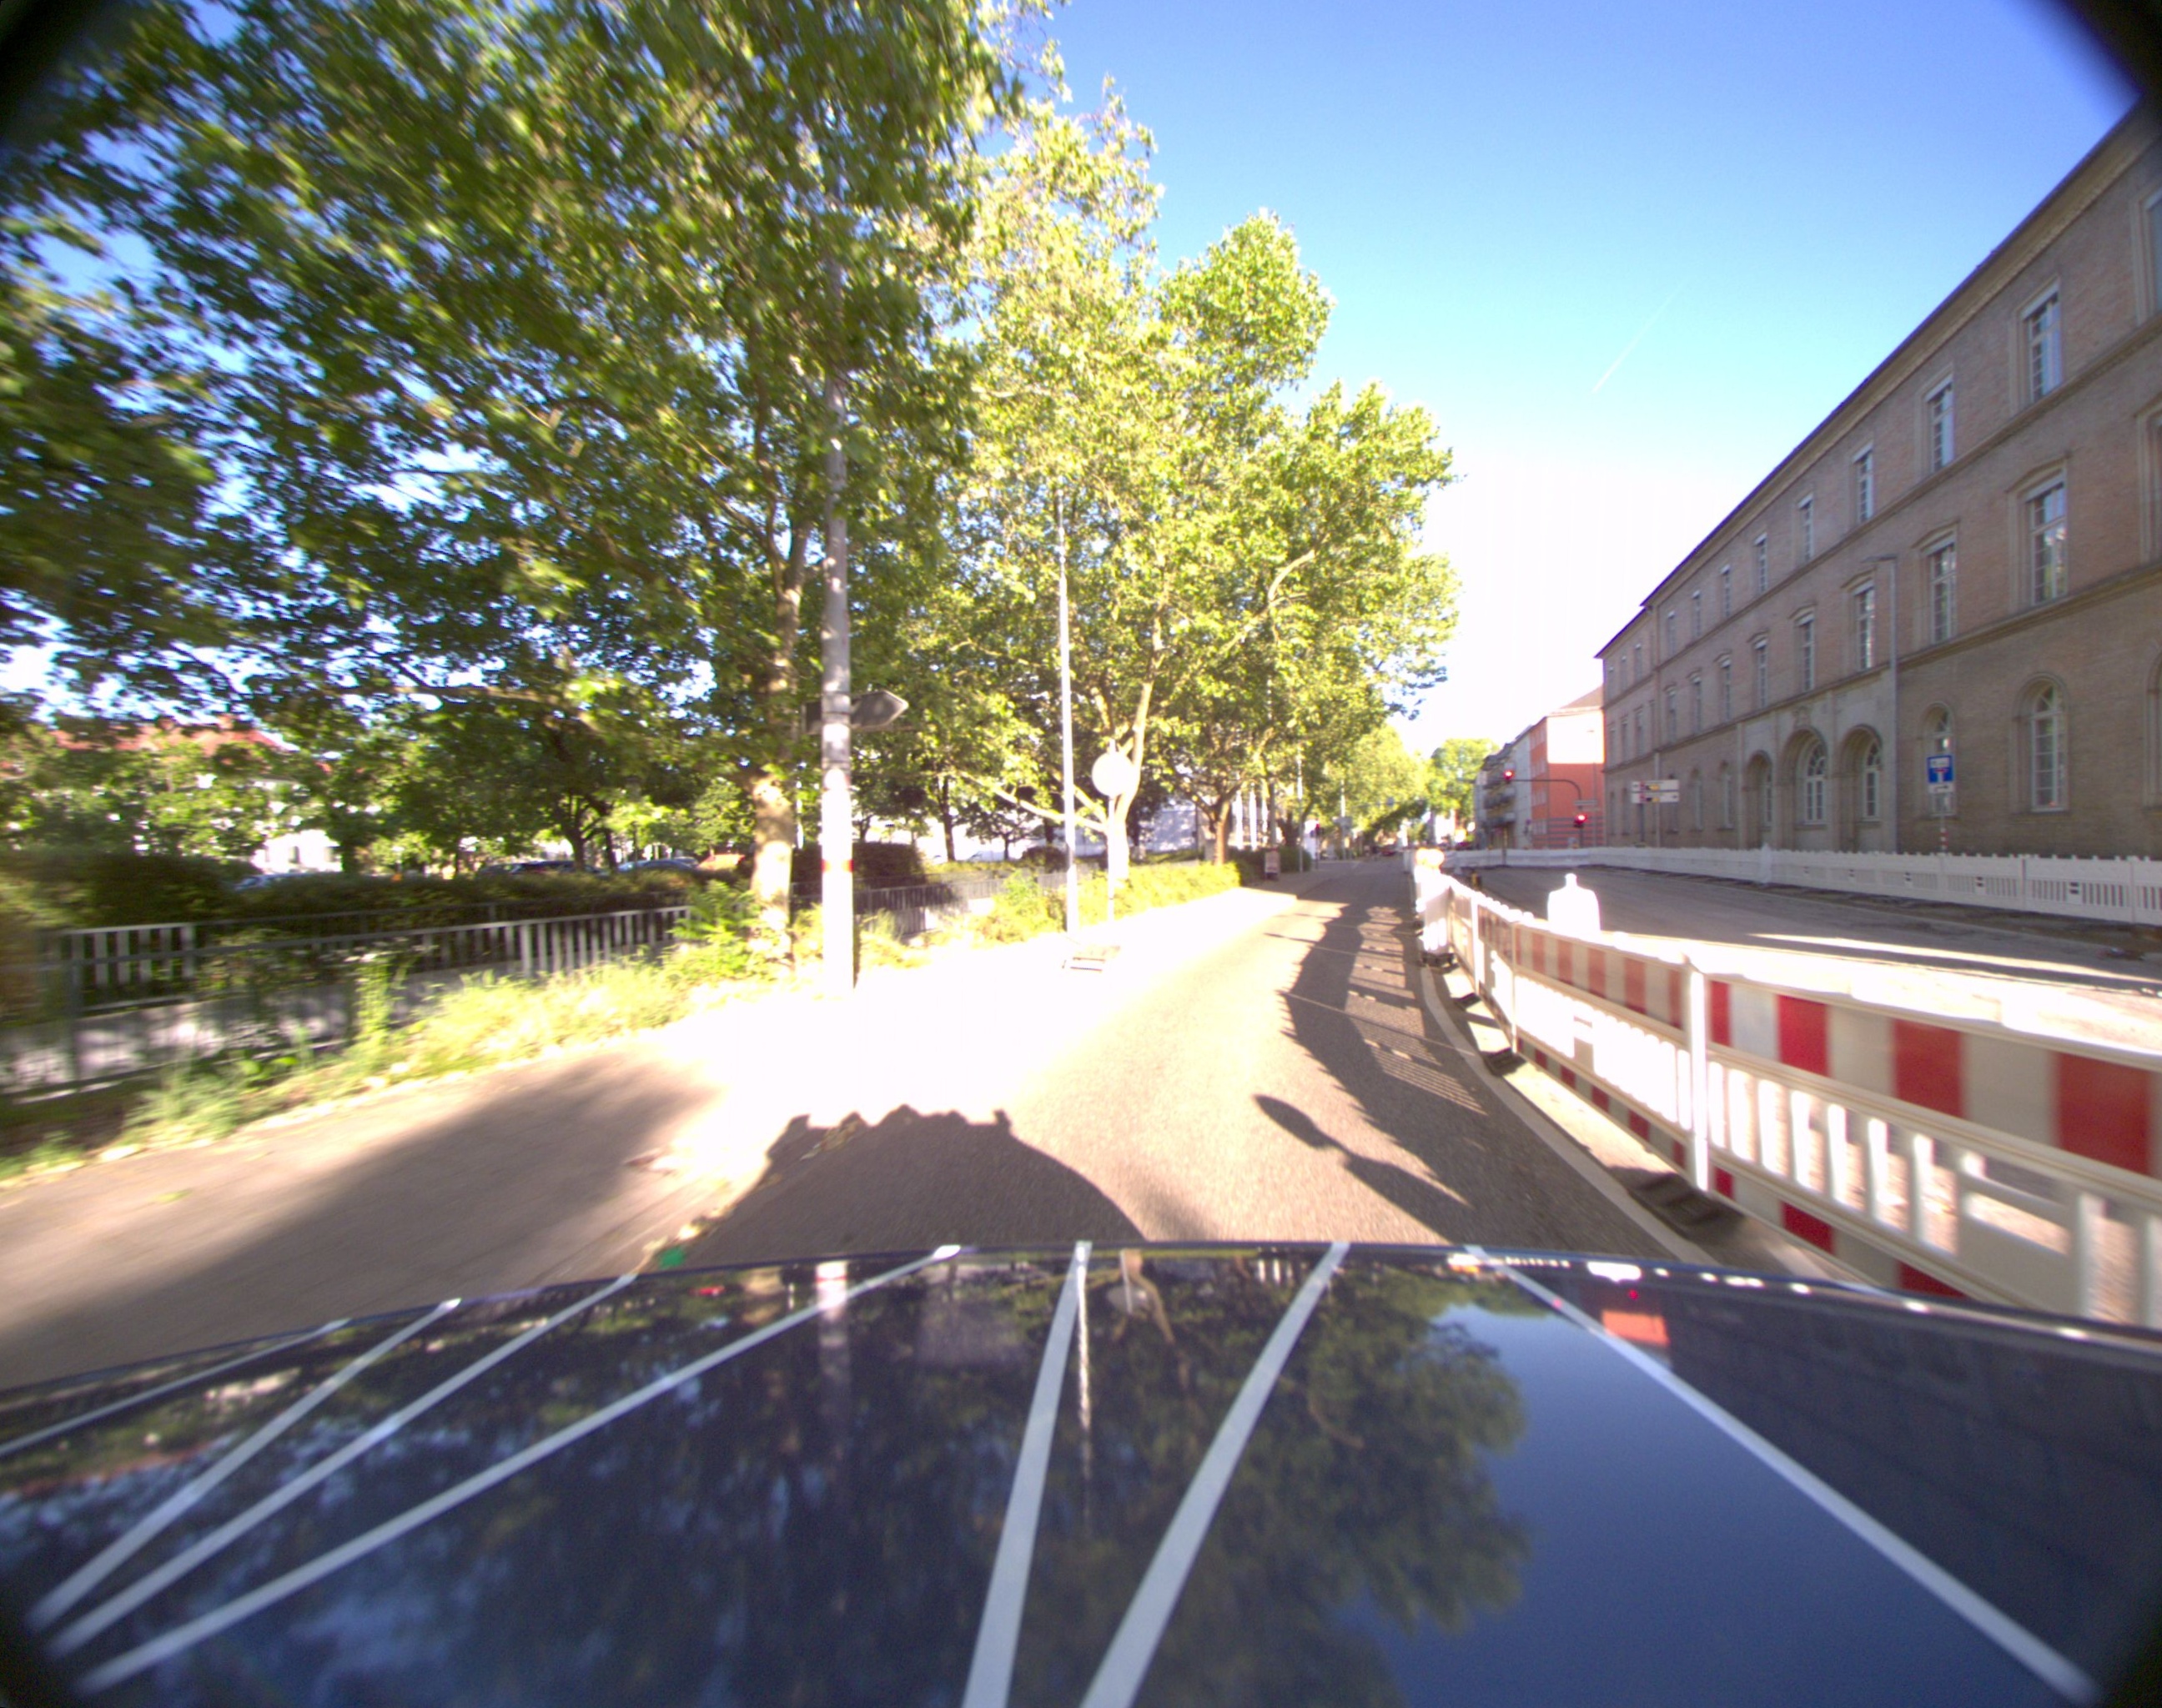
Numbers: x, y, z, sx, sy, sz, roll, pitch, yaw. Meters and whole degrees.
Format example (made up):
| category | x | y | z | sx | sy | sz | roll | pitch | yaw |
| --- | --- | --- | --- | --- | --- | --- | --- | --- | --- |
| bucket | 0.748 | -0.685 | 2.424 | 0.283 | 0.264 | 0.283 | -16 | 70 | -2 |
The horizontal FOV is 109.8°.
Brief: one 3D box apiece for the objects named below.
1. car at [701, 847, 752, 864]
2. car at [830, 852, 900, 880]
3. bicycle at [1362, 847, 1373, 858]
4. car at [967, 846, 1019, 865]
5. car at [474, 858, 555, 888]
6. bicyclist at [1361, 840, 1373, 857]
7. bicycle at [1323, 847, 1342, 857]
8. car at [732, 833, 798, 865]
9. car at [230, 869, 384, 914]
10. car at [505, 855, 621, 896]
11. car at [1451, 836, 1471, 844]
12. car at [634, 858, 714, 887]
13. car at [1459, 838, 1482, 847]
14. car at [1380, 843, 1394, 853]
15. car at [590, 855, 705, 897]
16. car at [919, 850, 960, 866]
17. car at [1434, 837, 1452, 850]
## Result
| category | x | y | z | sx | sy | sz | roll | pitch | yaw |
| --- | --- | --- | --- | --- | --- | --- | --- | --- | --- |
| car | -39.109 | 0.177 | 83.872 | 4.903 | 1.776 | 2.092 | 0 | 2 | 13 |
| car | -13.145 | 0.685 | 46.517 | 1.783 | 1.592 | 4.318 | -1 | 0 | 22 |
| bicycle | 29.018 | -0.174 | 76.940 | 0.702 | 1.060 | 1.932 | -1 | -1 | 31 |
| car | -8.692 | 0.171 | 75.132 | 4.709 | 1.818 | 2.112 | -1 | 1 | 21 |
| car | -39.308 | 1.295 | 52.809 | 1.920 | 1.935 | 4.051 | -2 | 0 | 22 |
| bicyclist | 28.935 | -0.541 | 76.805 | 0.948 | 1.630 | 1.009 | -2 | 1 | 31 |
| bicycle | 25.138 | -0.217 | 76.026 | 1.635 | 0.994 | 0.622 | 0 | 3 | -2 |
| car | -26.493 | -0.421 | 63.976 | 1.995 | 2.557 | 5.167 | -2 | 0 | 21 |
| car | -31.956 | 1.521 | 31.519 | 1.920 | 1.616 | 4.006 | -3 | 0 | 23 |
| car | -22.800 | 0.905 | 33.615 | 1.550 | 1.616 | 4.006 | -2 | 0 | 23 |
| car | 87.623 | -3.275 | 175.109 | 3.990 | 1.689 | 1.836 | -1 | 1 | 25 |
| car | -25.373 | 1.122 | 47.531 | 1.920 | 1.616 | 4.006 | -3 | 0 | 23 |
| car | 77.855 | -2.310 | 151.799 | 3.990 | 1.689 | 1.836 | -1 | 1 | 25 |
| car | 46.121 | -0.920 | 114.528 | 1.783 | 1.520 | 4.664 | -1 | 0 | 22 |
| car | -18.280 | 0.888 | 32.254 | 1.760 | 1.617 | 4.005 | -1 | 1 | 19 |
| car | -14.314 | 0.421 | 76.870 | 3.842 | 1.476 | 1.632 | -1 | 1 | 21 |
| car | 58.893 | -1.773 | 123.660 | 1.996 | 1.807 | 5.130 | -3 | 2 | 18 |
